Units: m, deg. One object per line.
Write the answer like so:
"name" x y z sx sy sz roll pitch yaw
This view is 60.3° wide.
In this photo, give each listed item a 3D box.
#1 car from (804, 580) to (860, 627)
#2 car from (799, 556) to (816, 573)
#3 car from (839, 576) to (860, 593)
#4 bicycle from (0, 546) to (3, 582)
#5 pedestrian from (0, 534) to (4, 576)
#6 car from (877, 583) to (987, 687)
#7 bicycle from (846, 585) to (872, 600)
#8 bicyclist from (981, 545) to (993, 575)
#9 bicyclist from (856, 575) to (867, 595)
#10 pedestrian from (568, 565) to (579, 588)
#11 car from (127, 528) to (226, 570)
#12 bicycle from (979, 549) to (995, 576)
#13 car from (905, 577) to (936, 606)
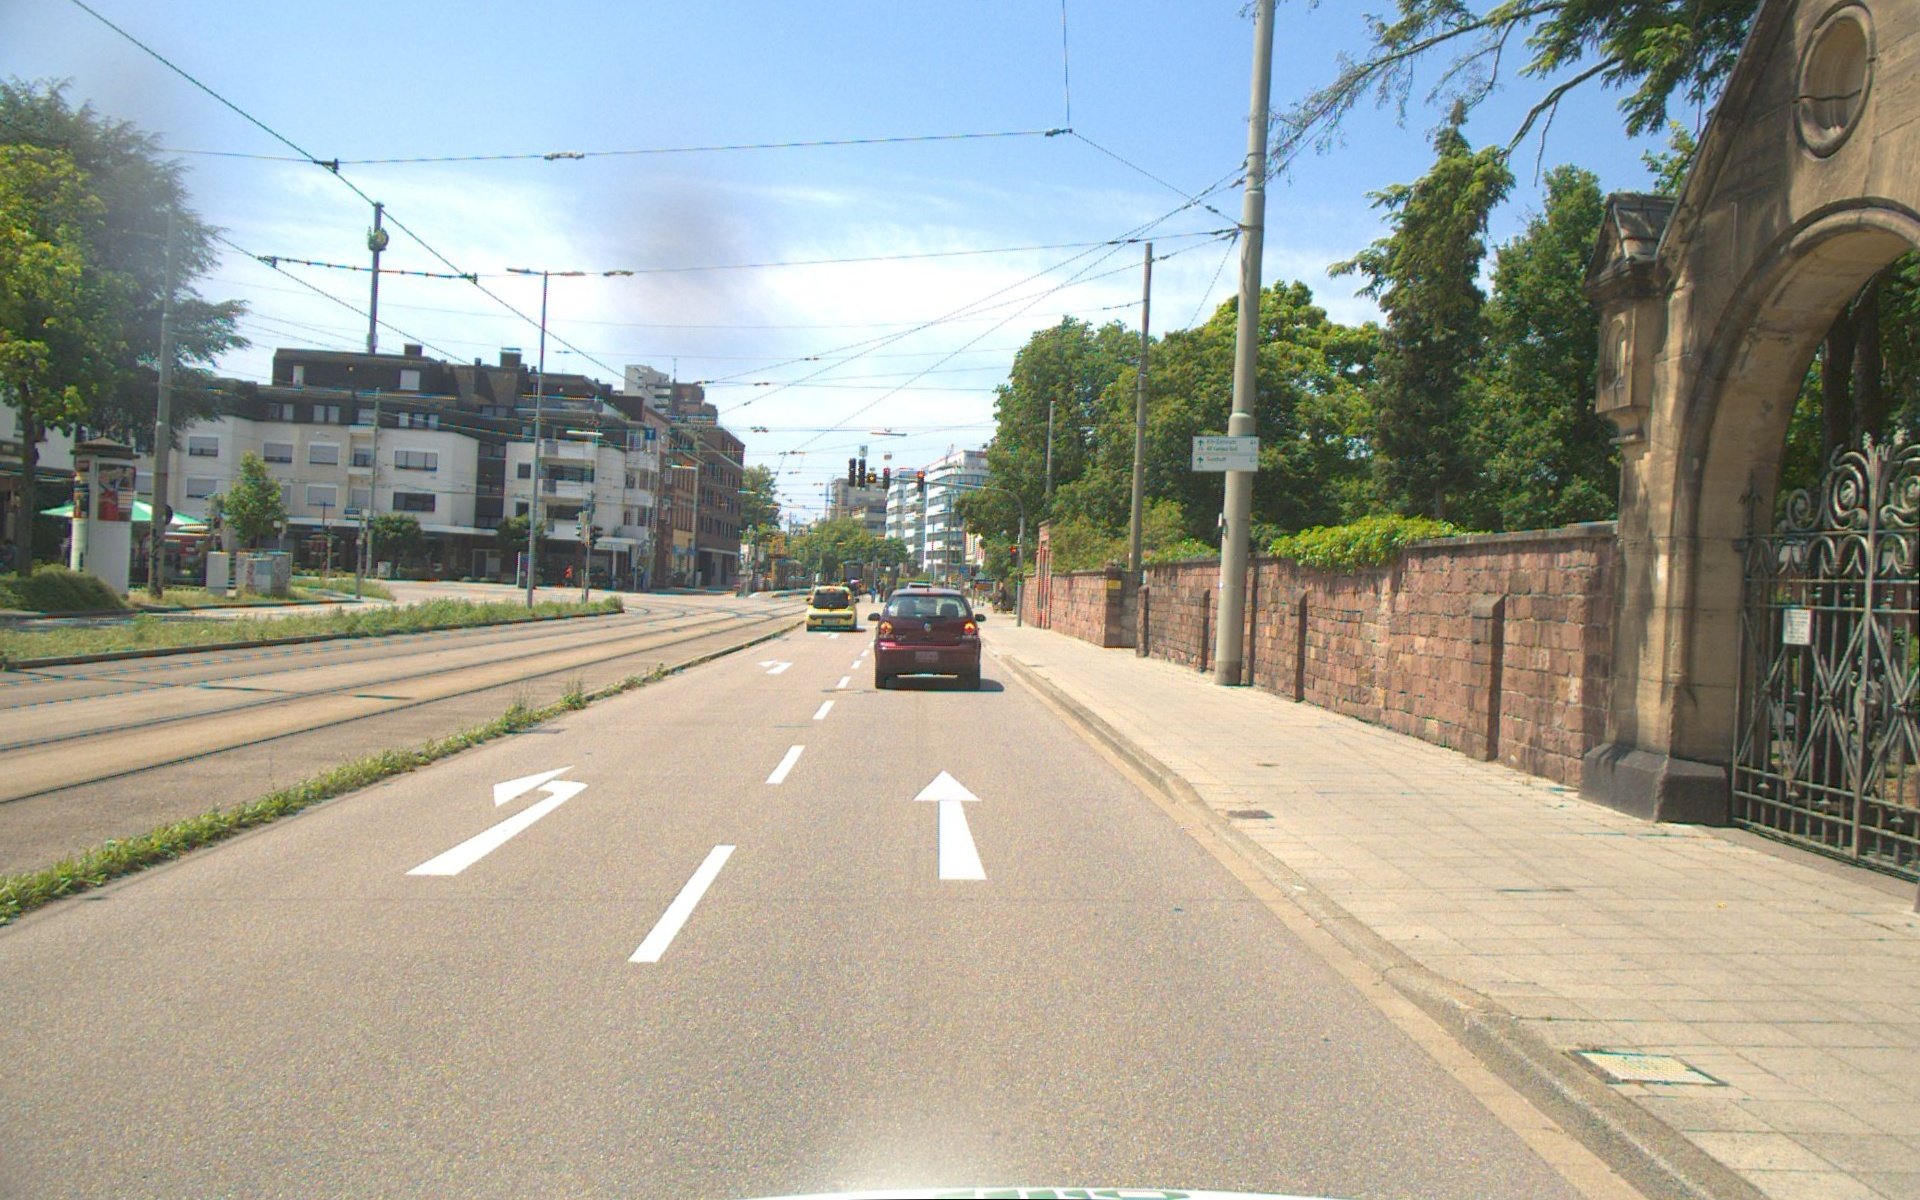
"car" -4.204 0.090 54.805 1.689 1.470 3.291 1 1 -2
"car" -18.736 -4.391 203.833 1.700 2.048 3.999 2 1 -1
"car" -11.156 -1.577 166.705 1.899 1.670 3.998 1 0 -2
"bicycle" -26.776 -0.992 44.740 0.598 0.996 2.029 1 0 -1
"pedestrian" -29.784 -1.388 50.560 0.577 1.291 0.842 1 0 -1
"car" -0.468 0.480 25.857 1.577 1.489 4.084 0 1 -2
"bicycle" -7.311 -0.561 120.147 1.829 1.025 0.578 1 0 -6
"bicyclist" 1.687 -2.482 103.552 0.707 1.850 0.888 1 0 -2
"bicyclist" -7.142 -1.105 120.206 0.751 1.430 0.506 1 0 -5
"pedestrian" -27.354 -1.650 116.997 0.474 1.568 0.538 1 0 22
"car" -48.669 -3.163 102.819 4.963 2.382 2.243 1 0 -3
"bicycle" 1.678 -2.329 103.388 0.818 1.552 3.999 1 0 -1
"car" -2.002 -0.452 84.008 1.541 1.440 3.719 0 1 -2
